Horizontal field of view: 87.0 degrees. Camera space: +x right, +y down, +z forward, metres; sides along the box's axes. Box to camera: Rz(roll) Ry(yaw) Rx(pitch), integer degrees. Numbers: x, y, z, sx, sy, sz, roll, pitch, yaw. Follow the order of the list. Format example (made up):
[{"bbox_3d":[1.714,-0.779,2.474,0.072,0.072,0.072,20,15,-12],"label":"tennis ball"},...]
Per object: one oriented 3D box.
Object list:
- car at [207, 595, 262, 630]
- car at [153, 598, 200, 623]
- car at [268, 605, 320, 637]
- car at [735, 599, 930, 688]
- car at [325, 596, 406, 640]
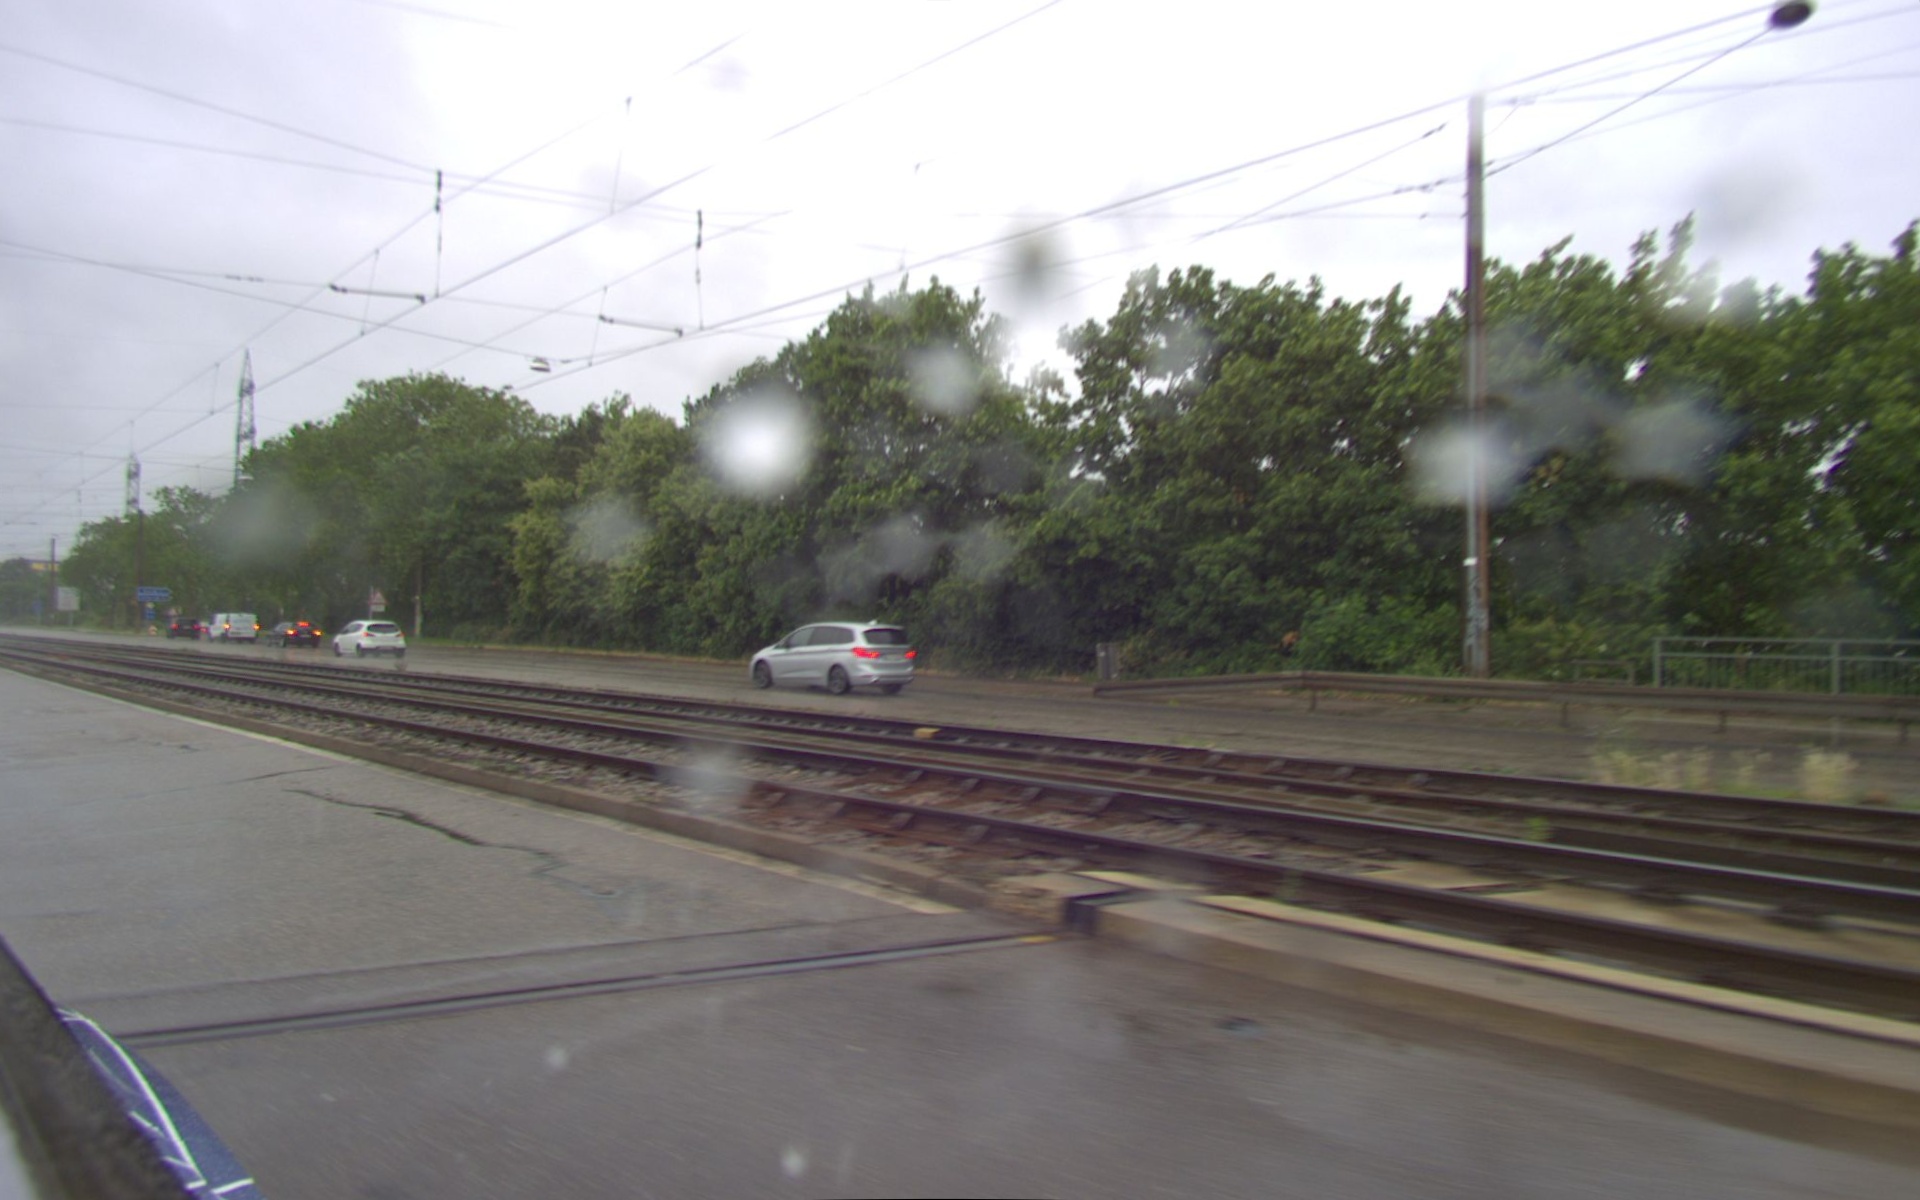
[{"bbox_3d":[-48.715,0.790,67.903,4.146,2.119,2.162,1,3,43],"label":"car"},{"bbox_3d":[-59.505,0.749,76.817,4.146,1.710,2.162,1,3,43],"label":"car"},{"bbox_3d":[-38.322,1.193,58.173,1.753,1.642,3.673,-3,3,-45],"label":"car"},{"bbox_3d":[-3.014,0.905,23.365,4.659,1.723,1.814,1,3,41],"label":"car"},{"bbox_3d":[-24.421,0.698,41.512,3.669,1.642,1.755,1,3,41],"label":"car"}]
